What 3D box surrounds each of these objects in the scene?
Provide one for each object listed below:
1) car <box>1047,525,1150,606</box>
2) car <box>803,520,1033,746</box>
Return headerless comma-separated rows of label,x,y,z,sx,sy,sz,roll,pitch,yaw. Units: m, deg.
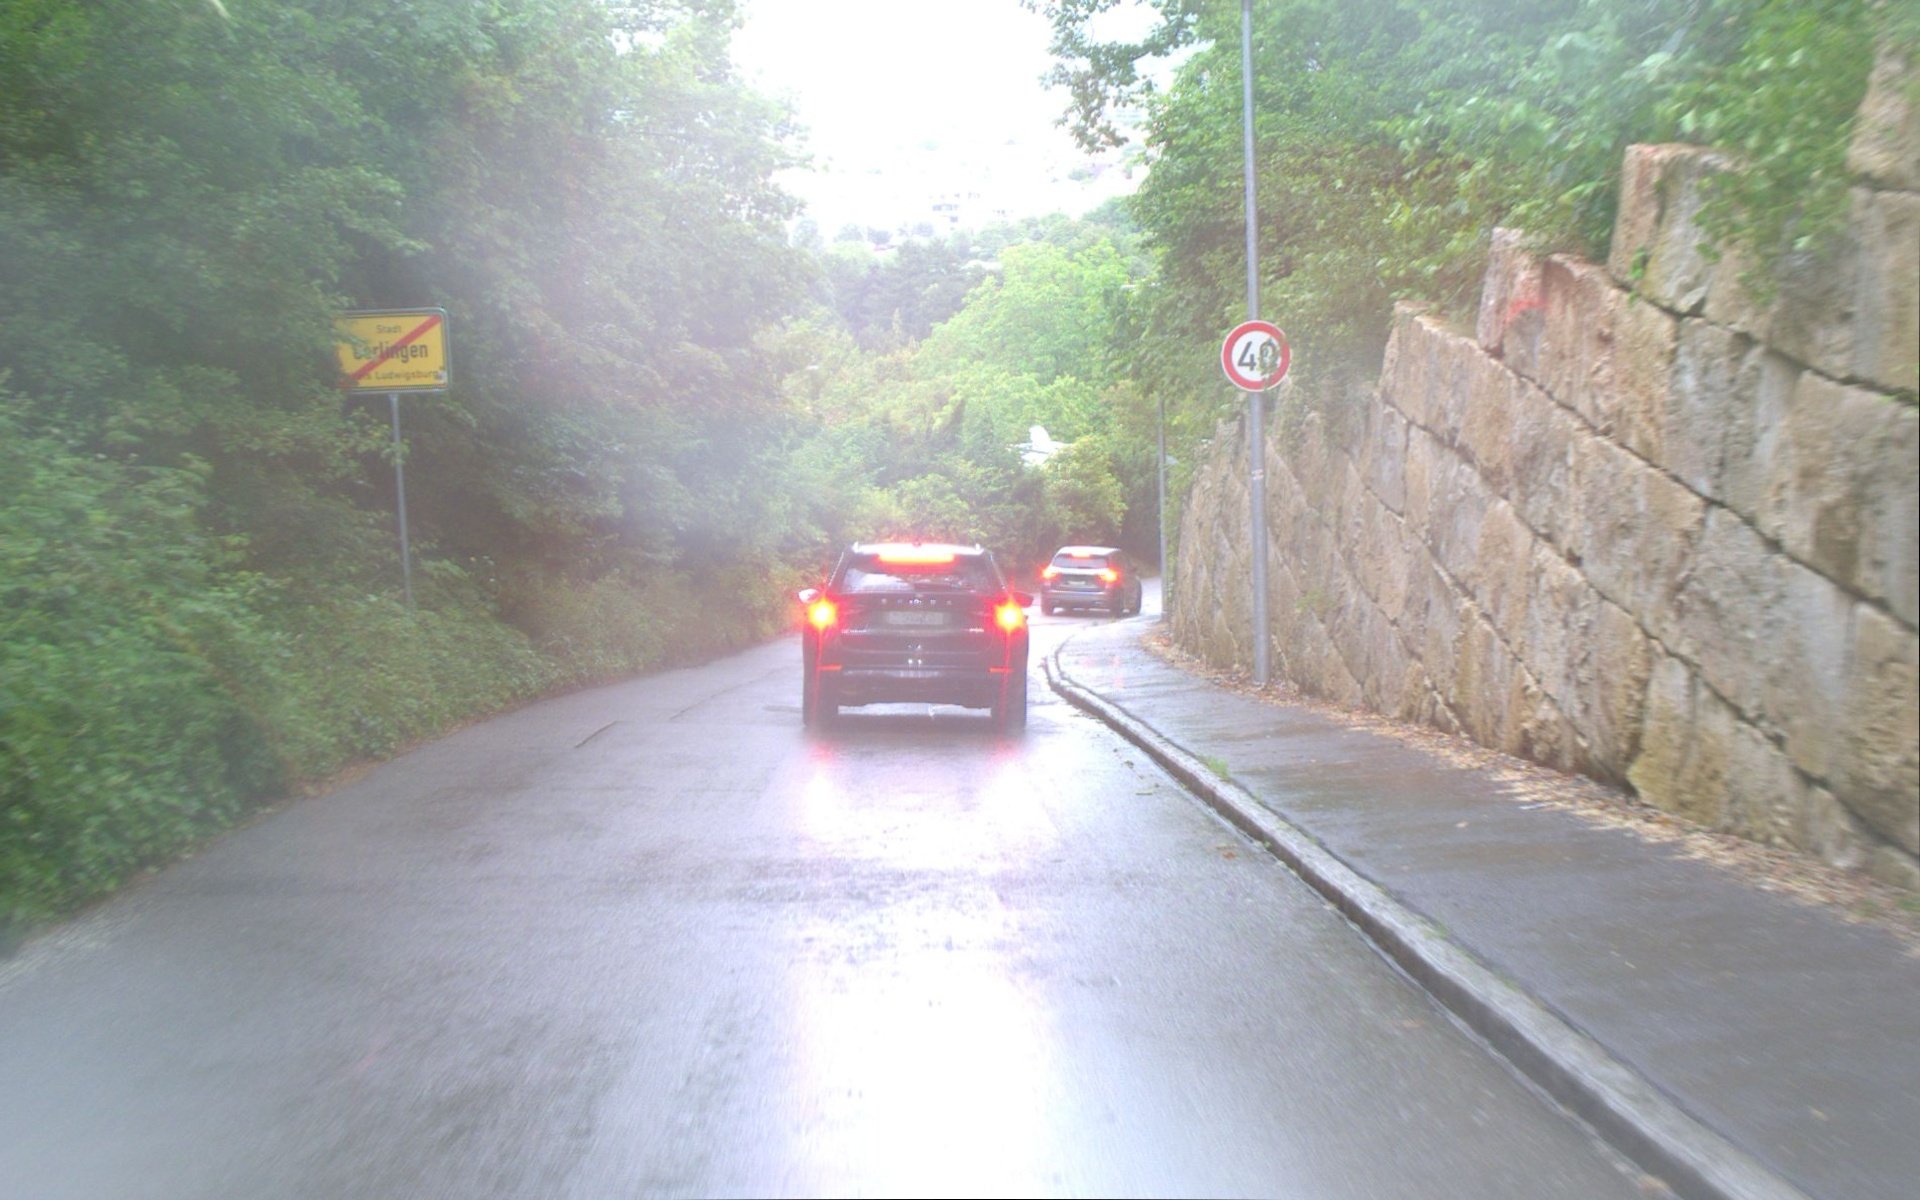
car,3.148,-0.779,77.472,1.863,1.737,3.999,1,1,8
car,-0.404,0.202,27.794,1.699,1.445,4.002,-1,5,-2
